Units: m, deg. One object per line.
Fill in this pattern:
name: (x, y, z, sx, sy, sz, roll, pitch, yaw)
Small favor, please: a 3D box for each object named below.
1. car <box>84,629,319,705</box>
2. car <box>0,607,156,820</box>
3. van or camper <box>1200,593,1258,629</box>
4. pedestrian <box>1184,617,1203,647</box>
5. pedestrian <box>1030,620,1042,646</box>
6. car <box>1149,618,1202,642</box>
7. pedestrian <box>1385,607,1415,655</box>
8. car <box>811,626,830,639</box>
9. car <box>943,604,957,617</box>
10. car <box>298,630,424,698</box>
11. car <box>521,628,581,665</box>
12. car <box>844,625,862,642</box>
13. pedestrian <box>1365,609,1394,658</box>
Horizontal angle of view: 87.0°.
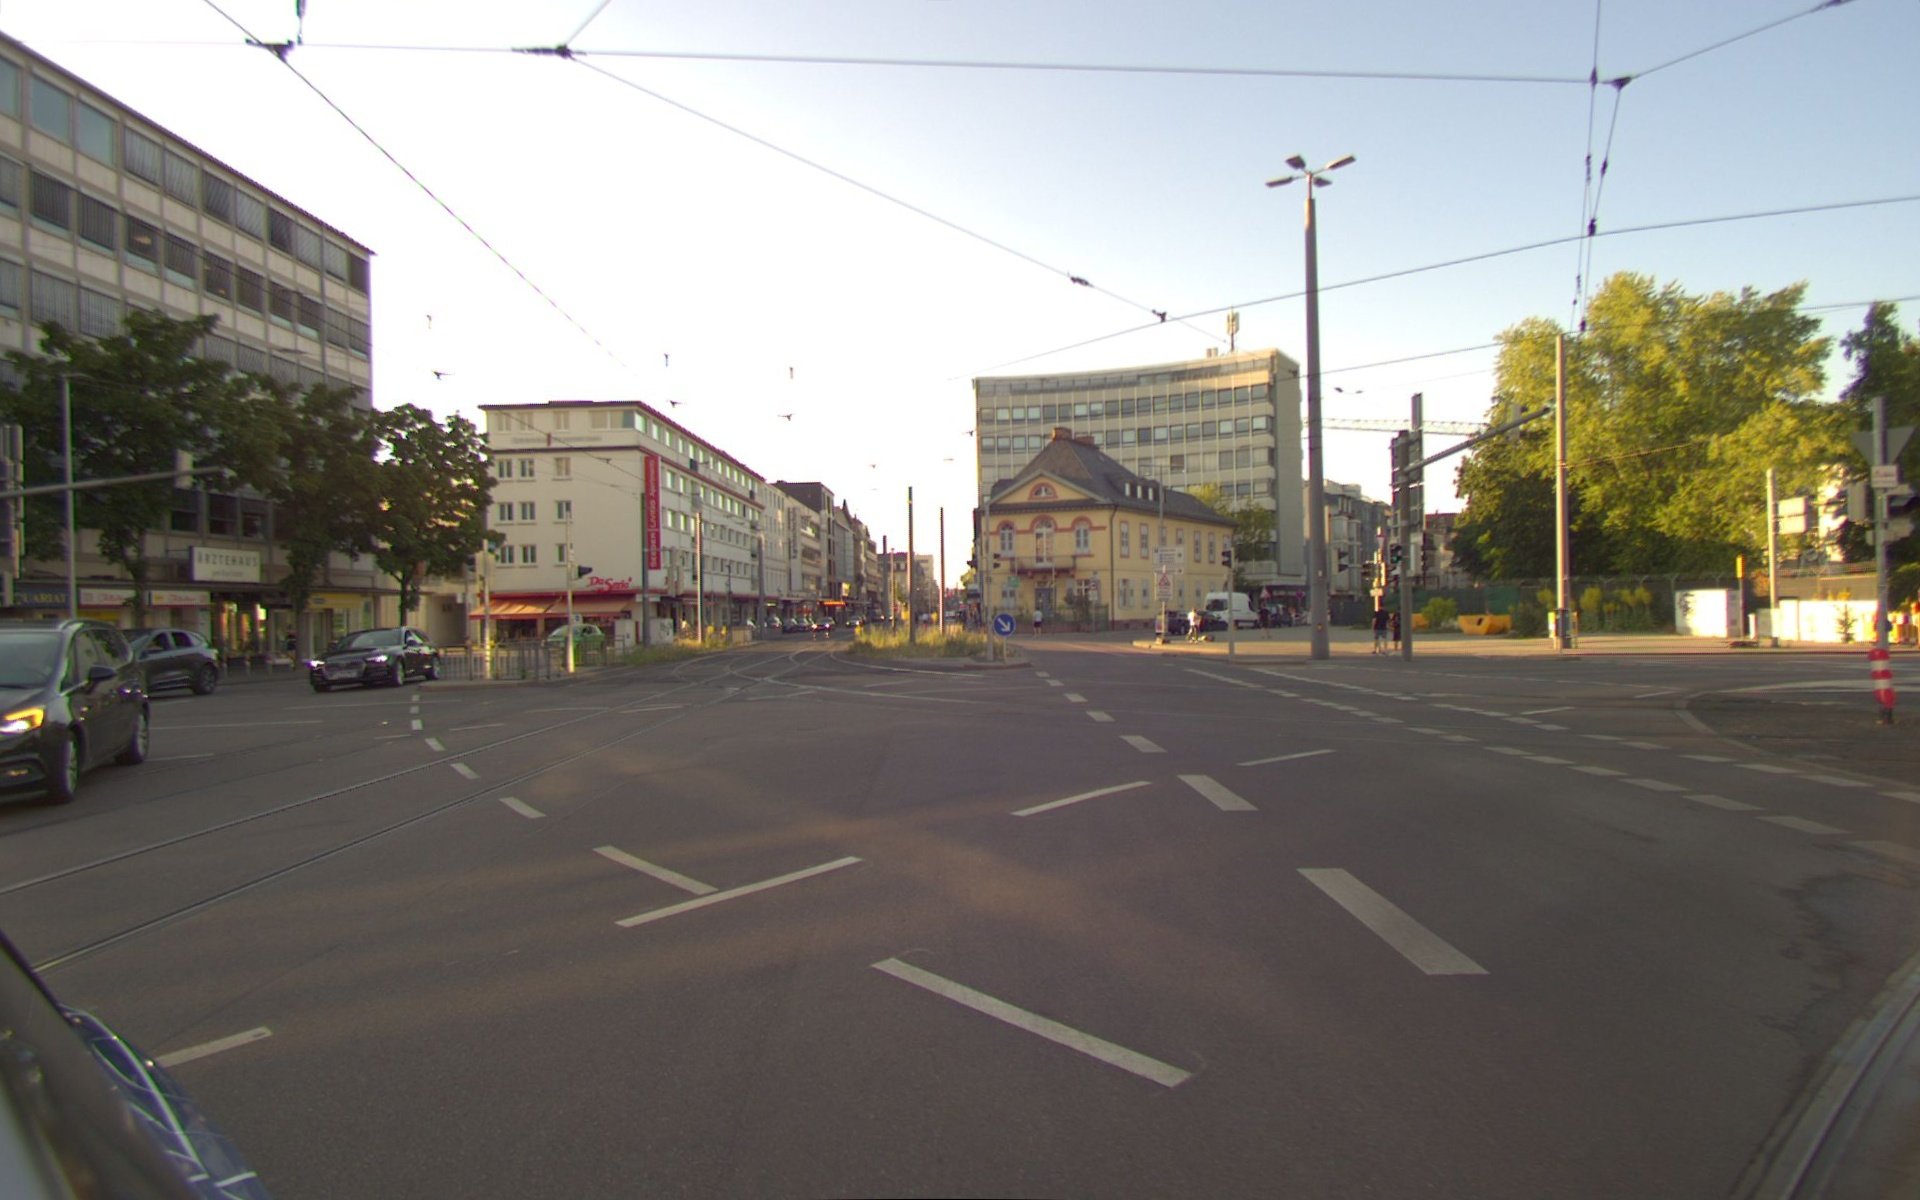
car: (-19.004, 1.611, 25.782, 2.001, 1.640, 5.581, -2, -1, -3)
car: (-9.054, 0.965, 9.375, 1.771, 1.631, 4.400, -1, -2, -29)
van or camper: (18.564, 0.722, 69.630, 1.997, 2.319, 5.051, -3, -2, 38)
pedestrian: (10.825, 1.475, 46.963, 0.655, 1.351, 0.582, -1, 0, 41)
pedestrian: (4.475, 1.927, 59.651, 0.582, 1.521, 0.654, -2, -2, 3)
car: (13.029, 1.810, 61.047, 1.847, 1.286, 3.546, -3, -2, 35)
pedestrian: (14.029, 0.993, 32.271, 0.582, 1.521, 0.655, -2, -2, 1)
car: (-14.000, 3.252, 101.873, 1.543, 1.286, 3.425, -2, -1, -3)
car: (-1.262, 1.318, 128.505, 1.488, 1.591, 3.007, -1, -1, -4)
car: (-14.305, 1.475, 24.422, 1.820, 1.418, 4.238, -1, -2, -20)
car: (-19.056, 2.133, 47.304, 1.721, 1.578, 4.031, -2, -1, -9)
car: (-13.161, 4.115, 124.121, 1.970, 2.029, 4.003, -2, -2, -4)
pedestrian: (13.423, 1.083, 32.401, 0.582, 1.521, 0.655, -2, -2, 1)
